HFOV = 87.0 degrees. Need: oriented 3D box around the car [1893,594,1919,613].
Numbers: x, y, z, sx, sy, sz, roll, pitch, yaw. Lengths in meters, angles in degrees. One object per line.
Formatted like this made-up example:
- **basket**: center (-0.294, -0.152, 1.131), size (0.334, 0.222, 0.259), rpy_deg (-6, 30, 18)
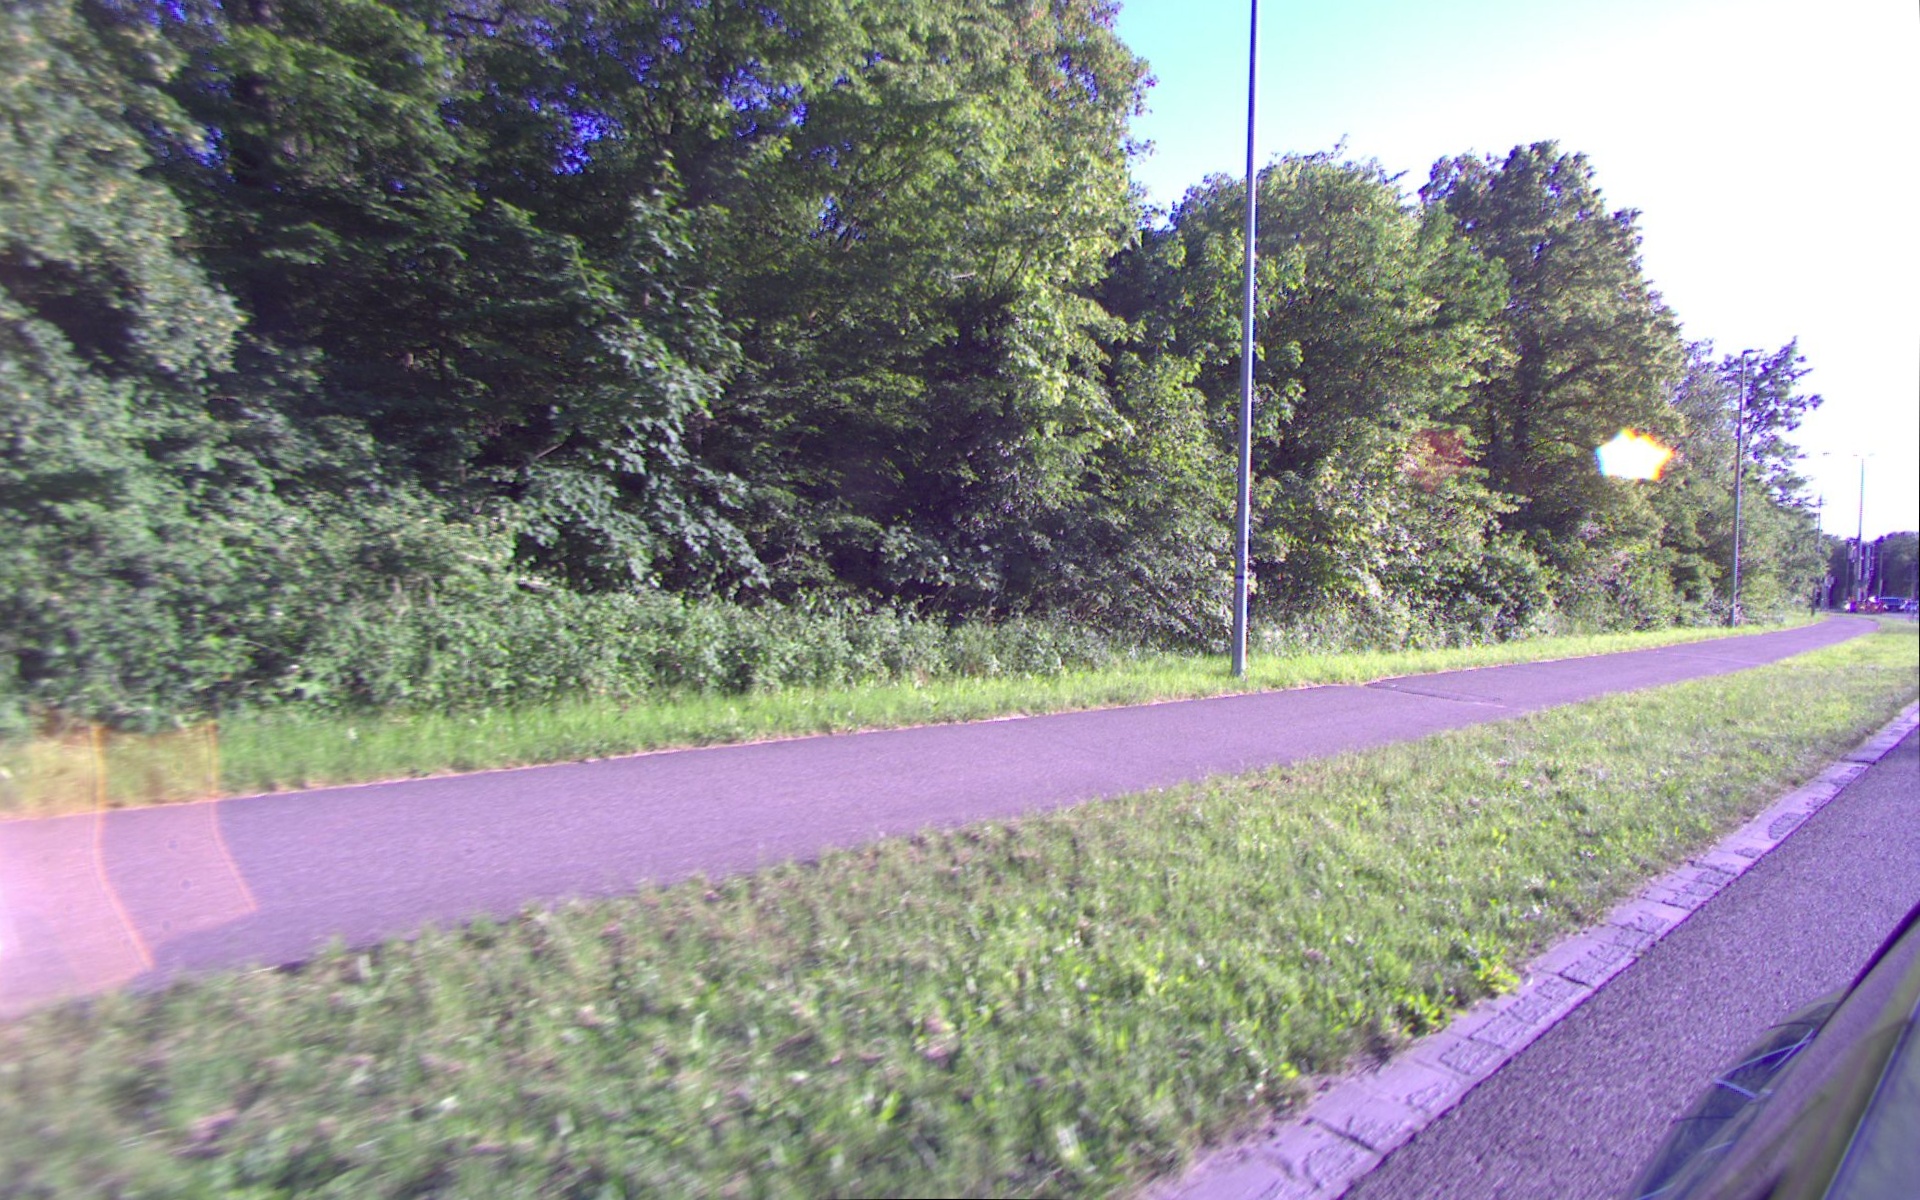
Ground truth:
- **car**: center (107.256, 0.374, 114.716), size (1.991, 2.094, 3.943), rpy_deg (1, 2, 40)
